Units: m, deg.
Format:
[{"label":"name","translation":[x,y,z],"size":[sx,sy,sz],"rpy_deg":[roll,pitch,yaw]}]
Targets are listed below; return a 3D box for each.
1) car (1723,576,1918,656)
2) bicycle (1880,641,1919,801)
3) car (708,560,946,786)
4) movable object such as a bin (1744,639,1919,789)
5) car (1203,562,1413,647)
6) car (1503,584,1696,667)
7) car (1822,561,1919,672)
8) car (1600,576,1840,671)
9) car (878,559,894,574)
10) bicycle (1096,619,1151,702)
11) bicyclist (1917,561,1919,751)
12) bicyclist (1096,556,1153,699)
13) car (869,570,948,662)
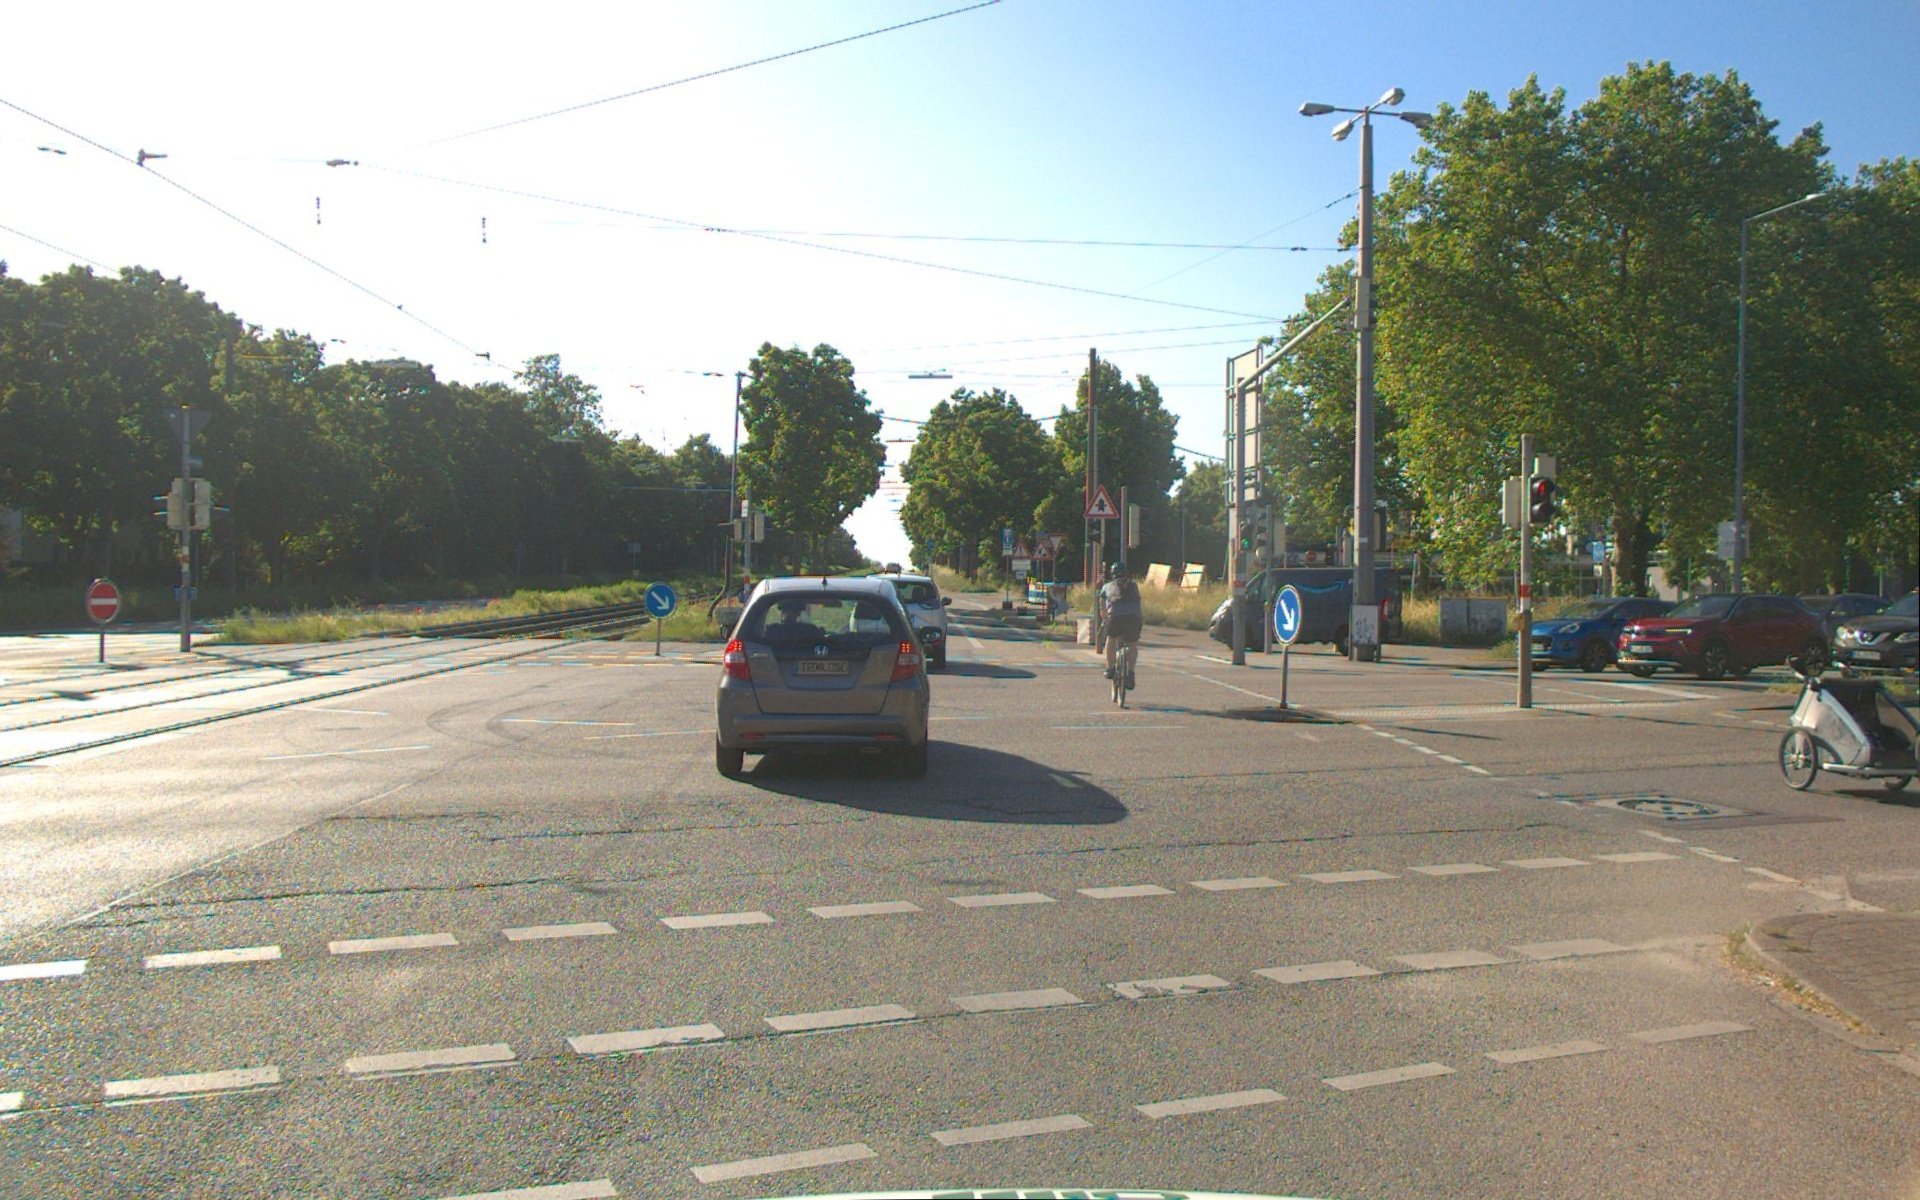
[{"label":"car","translation":[19.283,0.342,37.057],"size":[4.114,1.708,1.917],"rpy_deg":[0,0,-28]},{"label":"bicycle","translation":[7.179,0.886,11.446],"size":[0.457,1.138,1.818],"rpy_deg":[0,0,-6]},{"label":"car","translation":[-0.980,0.486,13.802],"size":[1.636,1.541,3.674],"rpy_deg":[2,2,0]},{"label":"movable object such as a bin","translation":[7.039,0.875,13.171],"size":[0.891,1.087,1.315],"rpy_deg":[0,0,-6]},{"label":"car","translation":[9.118,0.080,43.465],"size":[5.009,2.106,2.126],"rpy_deg":[1,0,31]},{"label":"car","translation":[13.218,0.500,34.156],"size":[3.804,1.628,1.697],"rpy_deg":[0,0,-28]},{"label":"car","translation":[16.680,0.258,27.632],"size":[4.428,1.741,1.904],"rpy_deg":[0,0,-28]},{"label":"car","translation":[13.786,0.399,29.997],"size":[4.023,1.628,1.803],"rpy_deg":[0,0,-24]},{"label":"car","translation":[-9.885,-4.478,221.181],"size":[1.953,2.049,4.000],"rpy_deg":[1,0,-1]},{"label":"bicycle","translation":[2.017,0.727,20.587],"size":[0.513,0.939,2.089],"rpy_deg":[0,0,1]},{"label":"bicyclist","translation":[7.168,0.407,11.652],"size":[0.500,1.364,0.564],"rpy_deg":[0,0,-7]},{"label":"bicyclist","translation":[2.009,0.327,20.252],"size":[0.602,1.709,0.933],"rpy_deg":[0,0,-1]},{"label":"car","translation":[-0.881,0.261,29.315],"size":[1.324,1.554,3.123],"rpy_deg":[0,0,-1]}]
